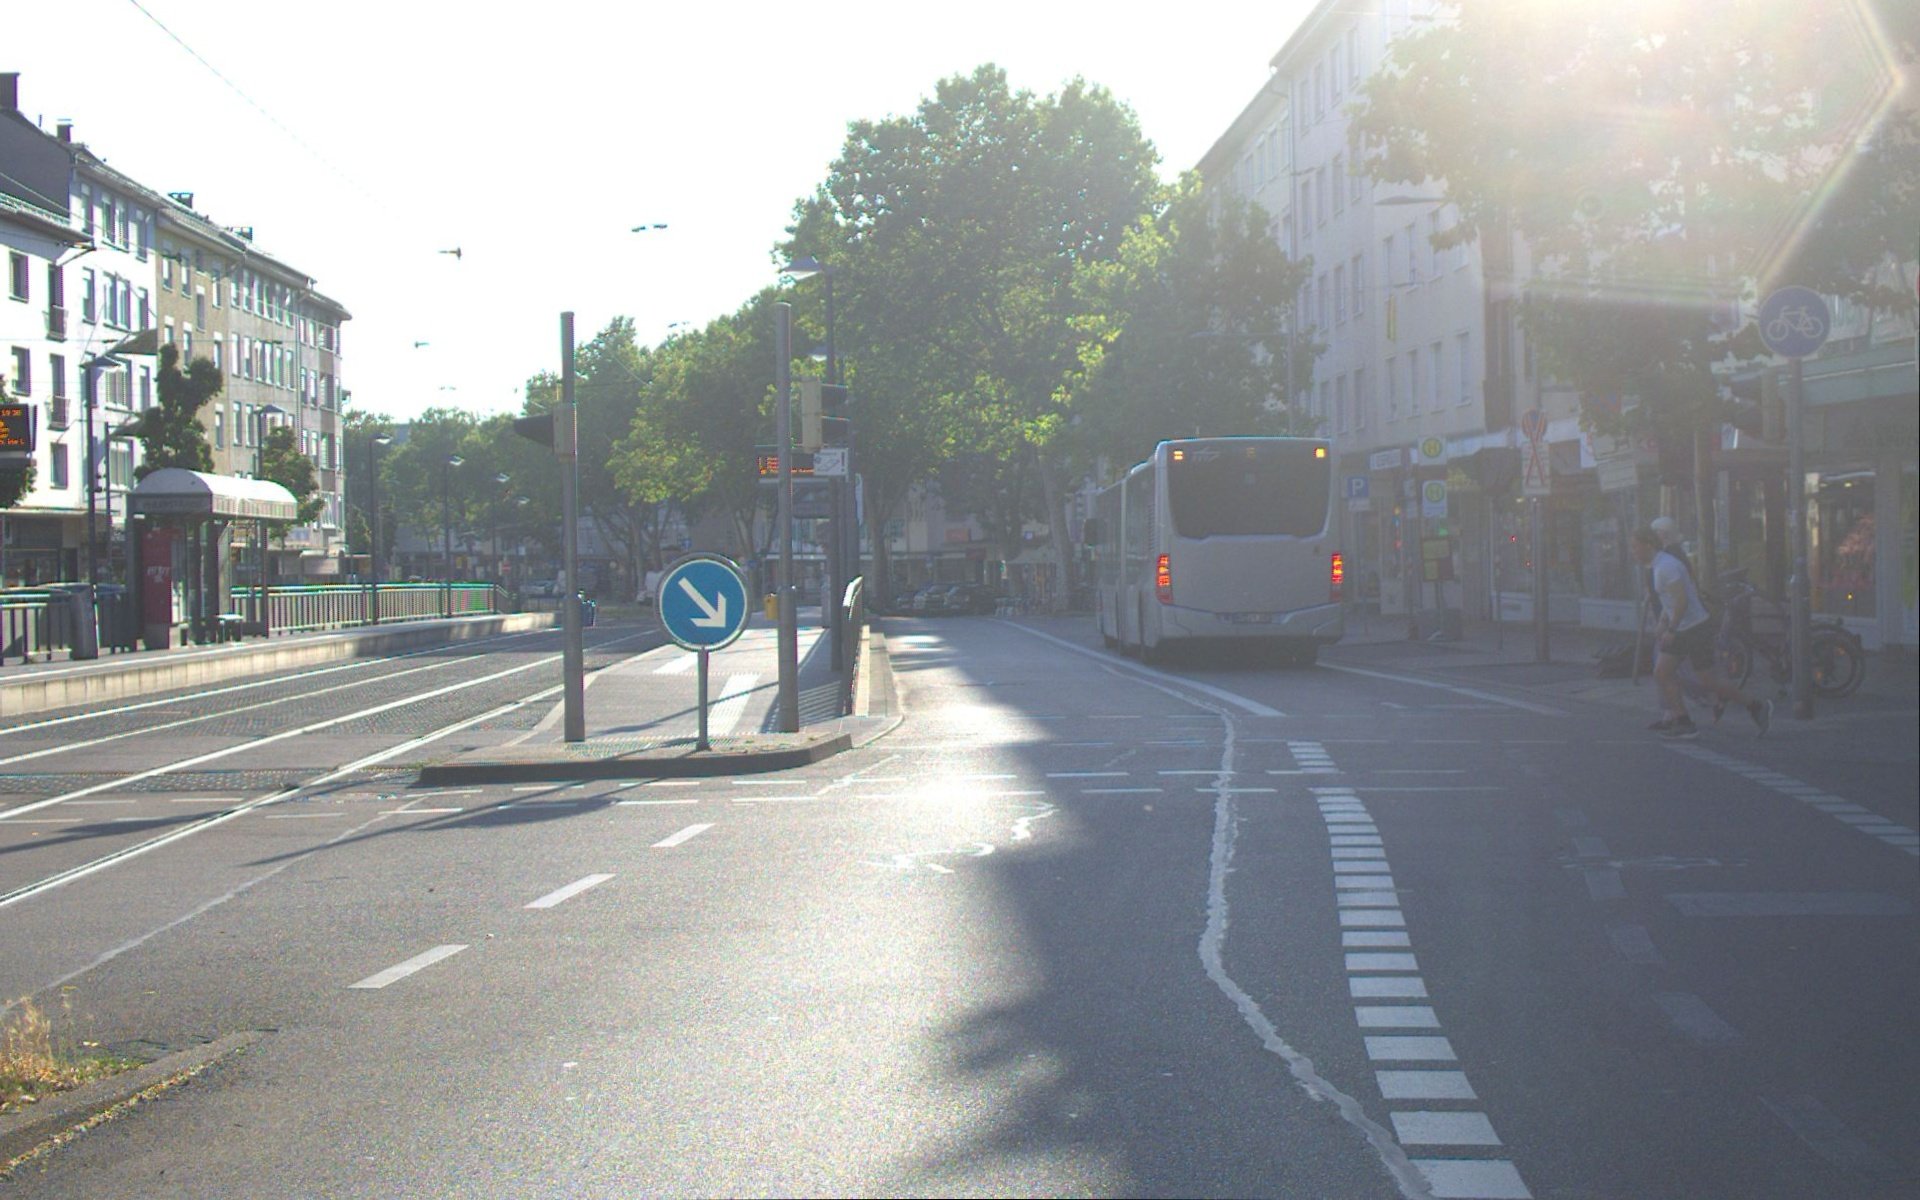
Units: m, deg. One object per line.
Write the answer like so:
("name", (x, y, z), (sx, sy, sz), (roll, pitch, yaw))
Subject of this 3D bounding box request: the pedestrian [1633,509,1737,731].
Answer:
("pedestrian", (5.856, 0.151, 27.806), (0.680, 1.764, 0.687), (-1, 1, 0))

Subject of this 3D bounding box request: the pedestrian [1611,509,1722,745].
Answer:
("pedestrian", (5.382, 0.197, 26.204), (0.680, 1.764, 0.687), (-1, 1, 0))

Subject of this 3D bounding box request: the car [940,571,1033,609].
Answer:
("car", (1.223, -0.474, 158.633), (3.889, 1.693, 1.833), (-2, 1, -29))

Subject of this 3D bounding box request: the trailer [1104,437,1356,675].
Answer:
("trailer", (3.767, -0.632, 50.009), (2.812, 3.100, 8.795), (1, 1, -1))

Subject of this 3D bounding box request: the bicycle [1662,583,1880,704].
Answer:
("bicycle", (7.381, 0.390, 31.323), (1.772, 1.018, 0.694), (-2, 1, -1))

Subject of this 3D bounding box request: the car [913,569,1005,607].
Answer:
("car", (-0.065, -0.588, 161.350), (3.889, 1.693, 1.833), (-2, 1, -29))

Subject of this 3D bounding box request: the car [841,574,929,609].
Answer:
("car", (-3.631, -0.432, 166.587), (3.889, 1.591, 1.691), (-2, 1, -29))

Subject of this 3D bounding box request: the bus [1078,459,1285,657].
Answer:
("bus", (3.666, -0.718, 58.958), (2.812, 3.091, 9.094), (1, 1, -1))
